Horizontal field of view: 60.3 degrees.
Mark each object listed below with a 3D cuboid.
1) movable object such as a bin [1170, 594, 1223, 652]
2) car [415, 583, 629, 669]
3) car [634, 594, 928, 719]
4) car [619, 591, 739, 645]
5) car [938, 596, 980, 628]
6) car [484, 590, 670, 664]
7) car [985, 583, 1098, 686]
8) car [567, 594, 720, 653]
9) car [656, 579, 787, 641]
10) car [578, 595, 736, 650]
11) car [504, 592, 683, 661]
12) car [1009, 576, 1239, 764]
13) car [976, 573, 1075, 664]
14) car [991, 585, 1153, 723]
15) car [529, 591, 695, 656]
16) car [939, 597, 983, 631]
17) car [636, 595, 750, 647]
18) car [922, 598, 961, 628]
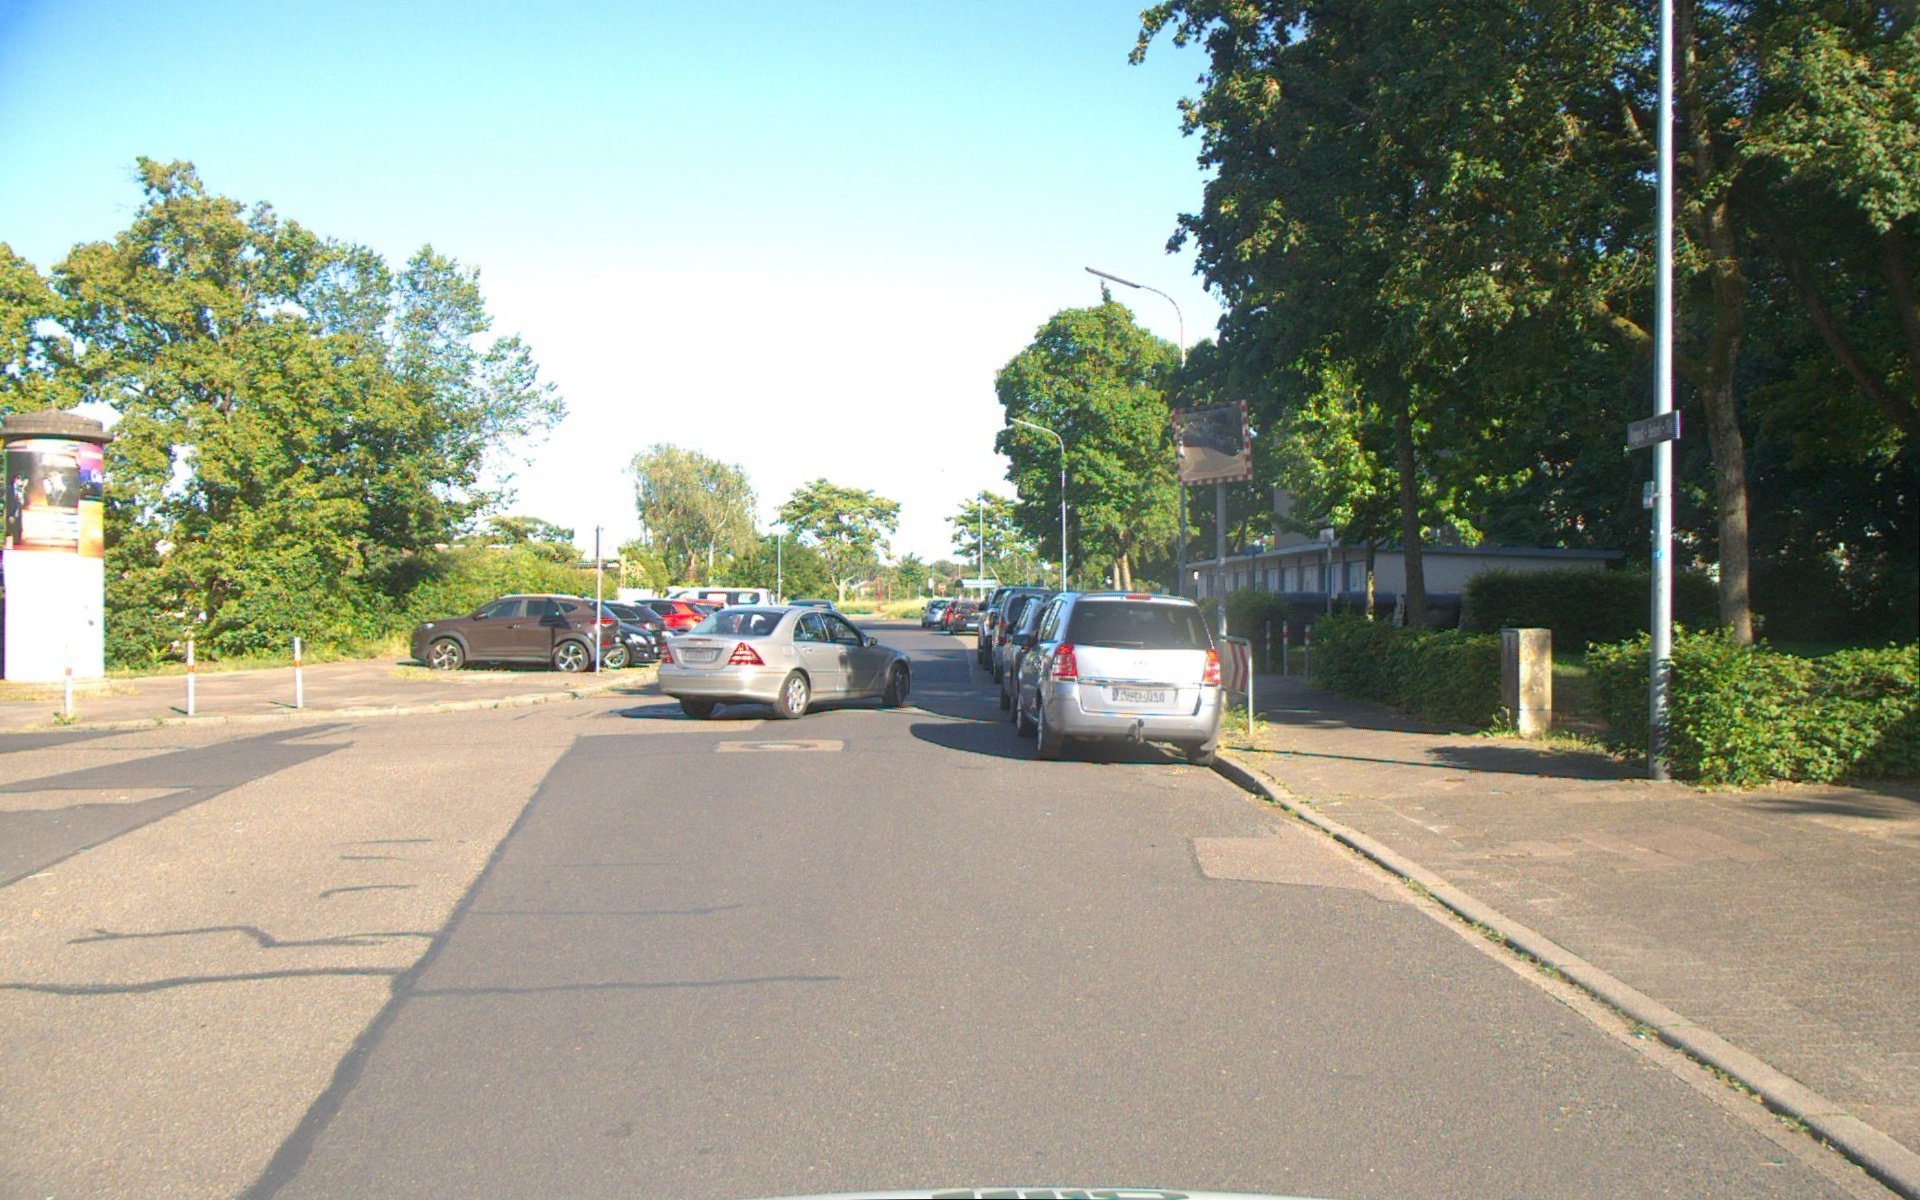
[{"bbox_3d":[5.731,0.561,39.965,1.223,1.371,1.054,0,-1,10],"label":"movable object such as a bin"},{"bbox_3d":[-9.386,0.557,35.712,4.103,1.685,1.845,2,-1,-3],"label":"car"},{"bbox_3d":[-2.286,0.687,22.348,1.782,1.489,4.353,1,0,29],"label":"car"},{"bbox_3d":[-9.040,0.563,53.369,3.529,1.594,1.881,2,0,-1],"label":"car"},{"bbox_3d":[-0.081,0.580,79.496,1.545,1.472,3.782,1,-1,-7],"label":"car"},{"bbox_3d":[-8.903,0.633,38.667,3.907,1.559,1.831,2,-1,-3],"label":"car"},{"bbox_3d":[1.531,0.611,32.621,1.796,1.822,4.553,2,1,-2],"label":"car"},{"bbox_3d":[-8.834,0.645,46.428,3.906,1.505,1.790,2,0,-1],"label":"car"},{"bbox_3d":[-8.468,0.368,59.008,4.389,2.011,1.999,2,-1,-2],"label":"car"},{"bbox_3d":[-9.161,0.667,50.298,4.452,1.505,1.747,2,0,-1],"label":"car"},{"bbox_3d":[-9.000,0.645,40.865,4.011,1.539,1.811,2,-1,-3],"label":"car"},{"bbox_3d":[1.536,0.659,16.995,1.733,1.638,4.370,2,-1,-2],"label":"car"},{"bbox_3d":[1.424,0.367,37.833,1.868,1.872,5.273,2,0,-2],"label":"car"},{"bbox_3d":[1.404,0.664,22.169,1.768,1.622,4.022,2,0,-1],"label":"car"},{"bbox_3d":[-9.057,0.617,43.271,3.938,1.539,1.905,2,-1,-3],"label":"car"},{"bbox_3d":[0.014,0.621,71.895,1.615,1.427,3.878,-1,-1,-4],"label":"car"},{"bbox_3d":[-8.998,0.704,55.875,3.529,1.594,1.852,2,0,-1],"label":"car"},{"bbox_3d":[-1.016,0.713,89.345,1.698,1.570,3.782,1,-1,-7],"label":"car"}]
